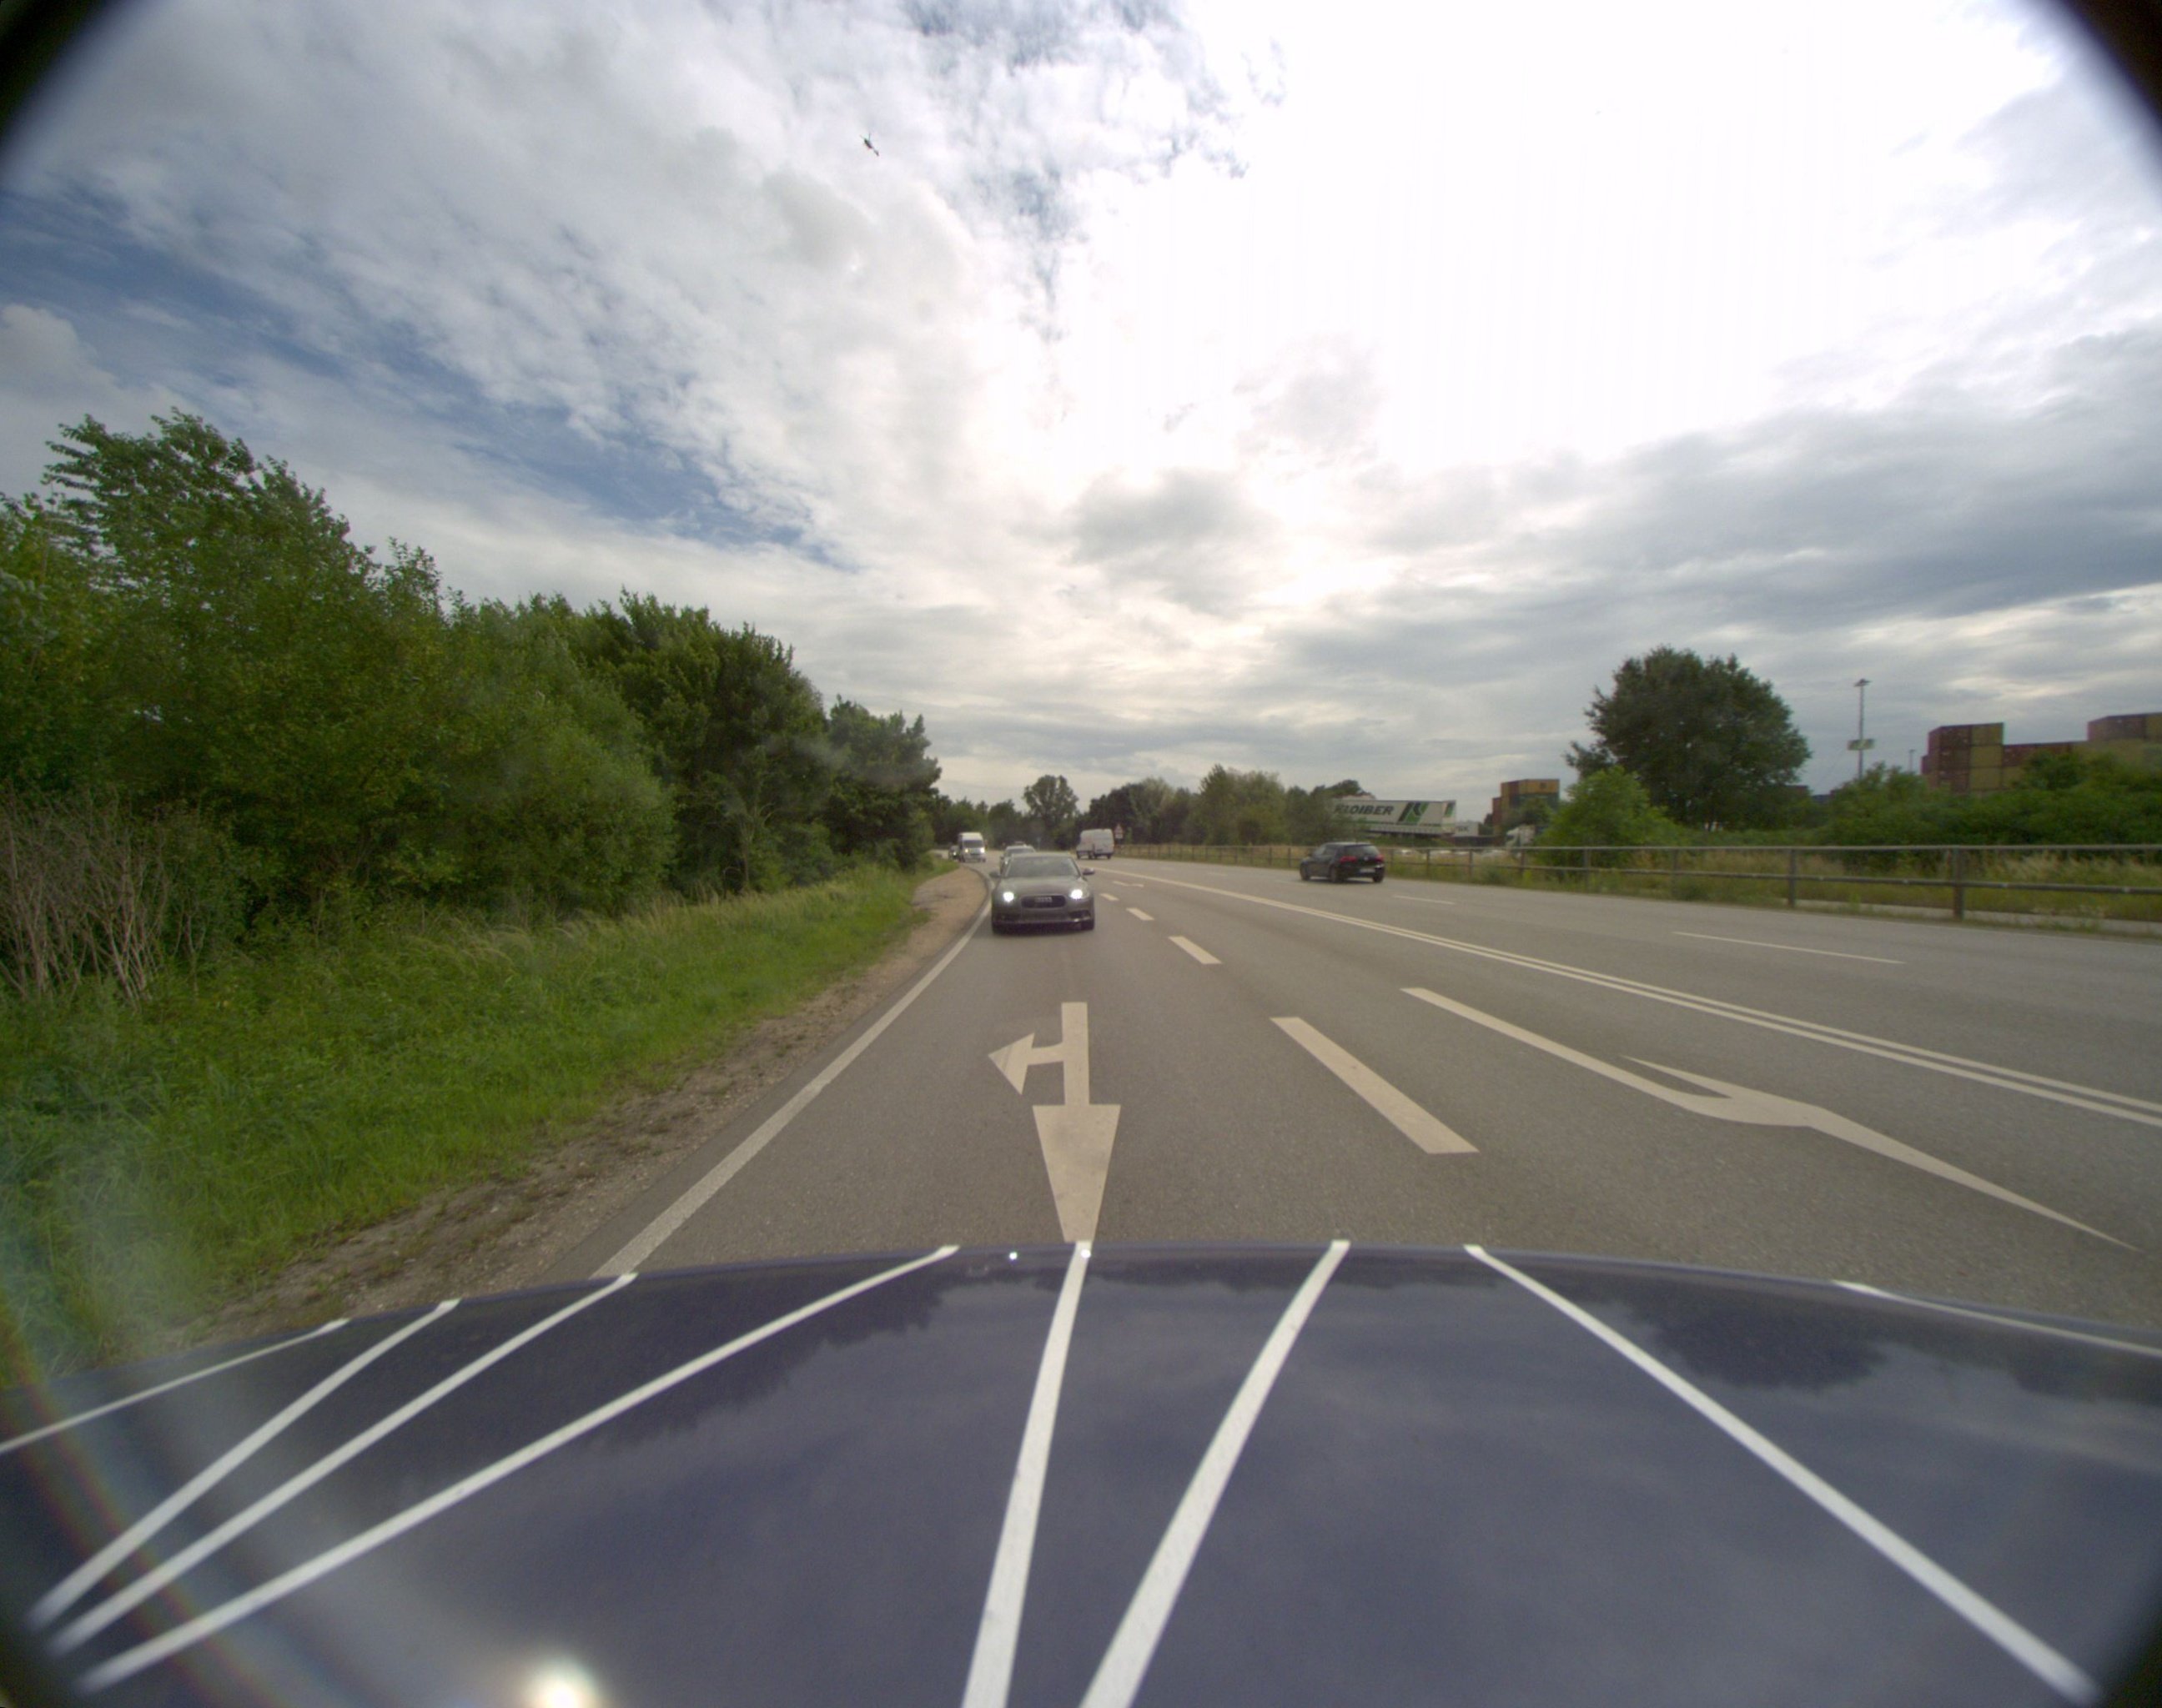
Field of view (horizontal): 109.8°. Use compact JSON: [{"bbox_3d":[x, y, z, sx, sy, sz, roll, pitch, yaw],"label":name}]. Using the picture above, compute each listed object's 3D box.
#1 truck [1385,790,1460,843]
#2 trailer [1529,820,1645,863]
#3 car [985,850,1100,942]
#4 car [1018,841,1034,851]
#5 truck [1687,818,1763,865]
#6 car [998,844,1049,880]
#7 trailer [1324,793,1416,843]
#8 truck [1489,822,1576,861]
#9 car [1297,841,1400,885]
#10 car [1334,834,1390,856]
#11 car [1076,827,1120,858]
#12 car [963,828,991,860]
[{"bbox_3d":[33.911,-3.674,75.598,2.809,4.969,6.173,-3,2,-36],"label":"truck"},{"bbox_3d":[54.026,-1.337,81.642,3.245,4.269,10.384,-2,1,-22],"label":"trailer"},{"bbox_3d":[-0.869,0.715,15.268,1.958,1.527,3.997,-1,1,-6],"label":"car"},{"bbox_3d":[-7.973,-1.186,109.980,1.814,1.433,4.348,-2,1,-10],"label":"car"},{"bbox_3d":[61.294,-1.169,72.503,5.414,4.269,2.203,0,2,38],"label":"truck"},{"bbox_3d":[-2.938,0.358,37.719,2.022,1.604,4.275,-2,1,-10],"label":"car"},{"bbox_3d":[30.396,-3.728,80.470,2.812,4.968,8.960,-3,2,-36],"label":"trailer"},{"bbox_3d":[51.733,-1.459,87.369,3.245,4.269,8.302,-2,1,-22],"label":"truck"},{"bbox_3d":[9.512,0.263,27.388,1.952,1.433,3.997,-1,1,-6],"label":"car"},{"bbox_3d":[25.529,-0.850,69.126,4.537,1.865,2.002,-1,2,15],"label":"car"},{"bbox_3d":[1.464,-1.030,70.614,2.442,2.659,6.879,-2,1,-12],"label":"car"},{"bbox_3d":[-9.609,-0.884,69.889,2.221,2.655,5.234,-4,1,-10],"label":"car"}]
